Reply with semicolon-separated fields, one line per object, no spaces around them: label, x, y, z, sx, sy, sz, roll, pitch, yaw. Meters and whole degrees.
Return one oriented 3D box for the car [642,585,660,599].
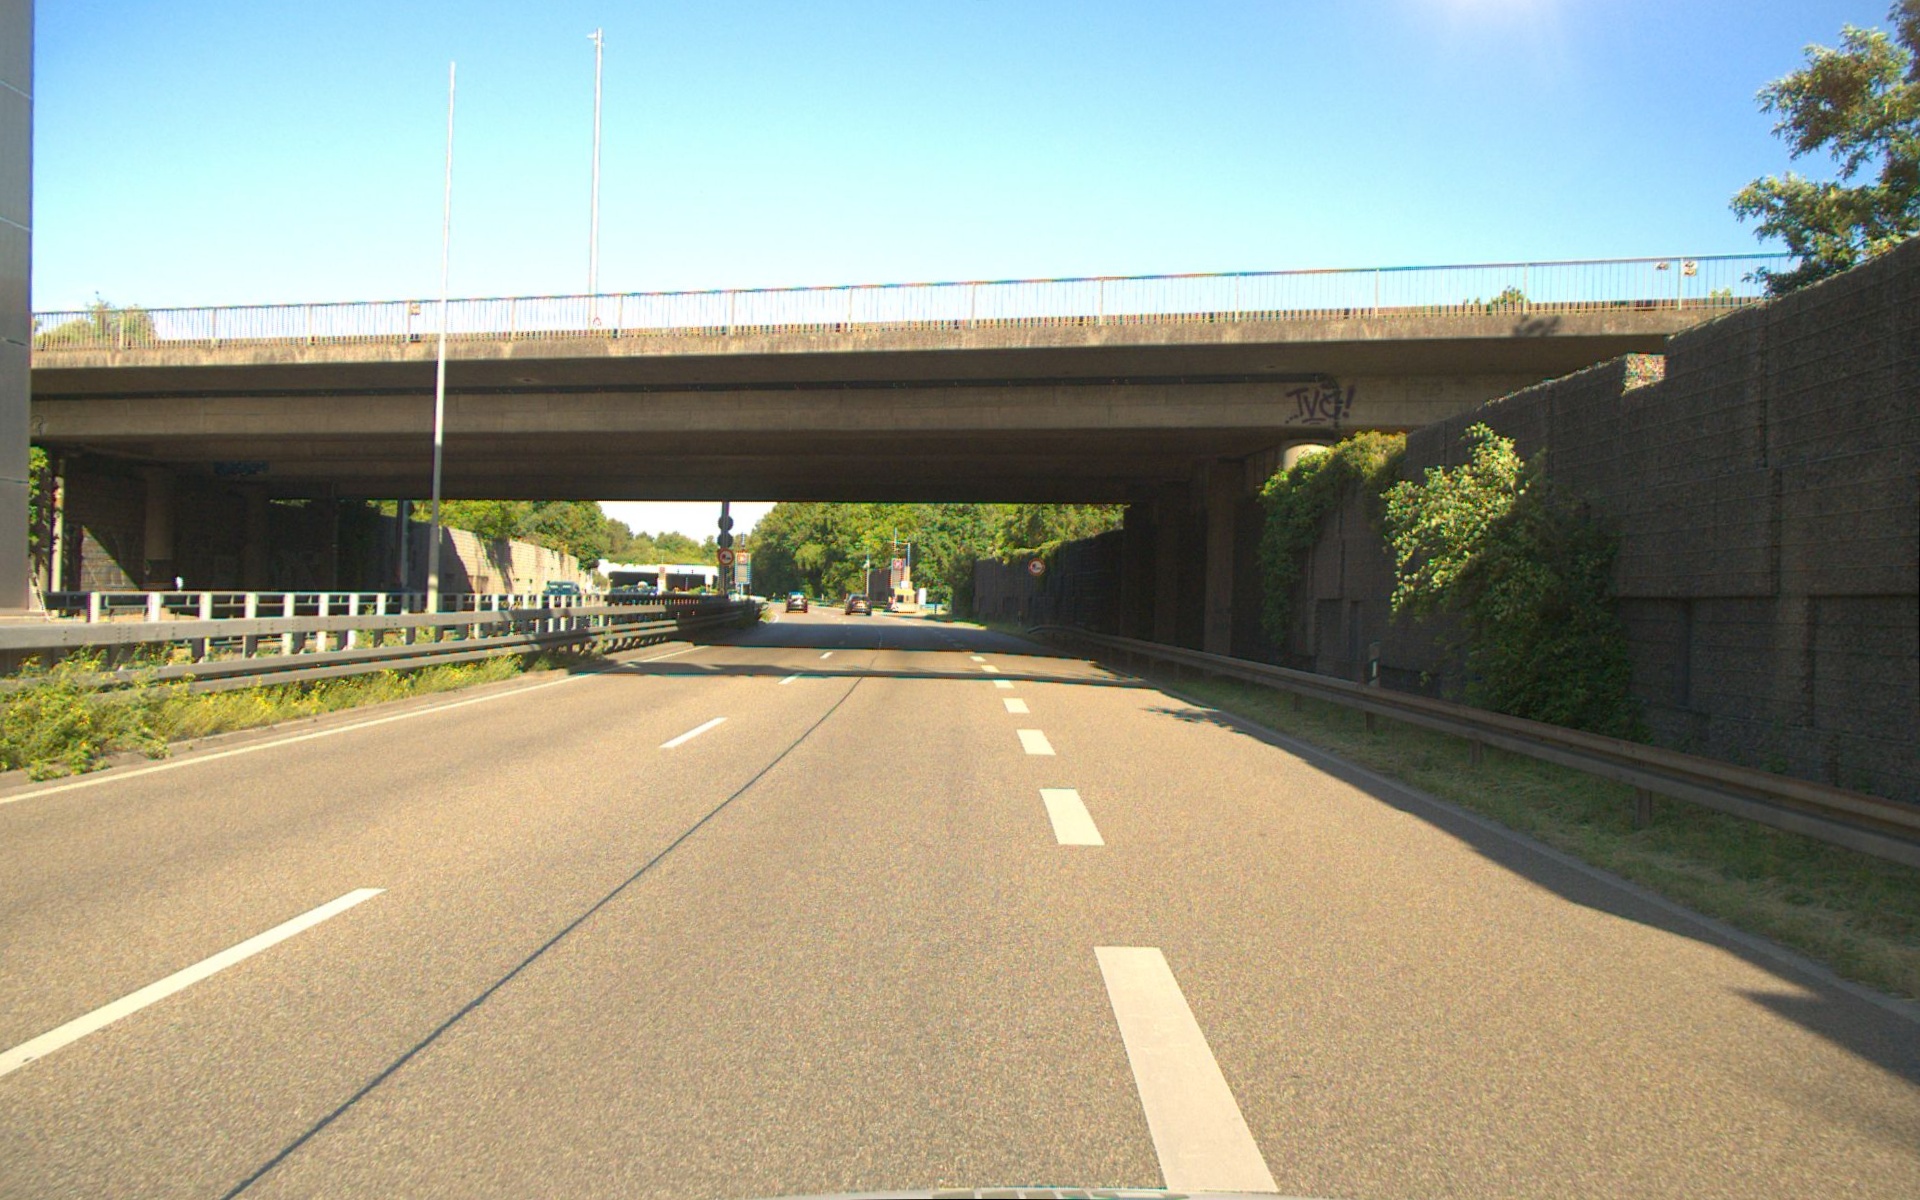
car;-38.888;-0.977;208.358;1.862;1.601;4.801;4;0;-7

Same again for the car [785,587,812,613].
car;-12.832;0.010;131.673;1.954;1.959;3.997;2;0;-3

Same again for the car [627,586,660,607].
car;-25.293;-0.274;132.474;1.954;1.623;4.424;2;0;-3

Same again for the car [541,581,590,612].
car;-23.149;-0.225;97.210;1.954;1.735;4.558;1;0;-3

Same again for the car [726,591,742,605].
car;-35.296;-0.300;258.429;1.960;1.959;3.985;2;0;-14

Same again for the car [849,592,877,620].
car;-7.047;0.422;120.102;1.954;1.959;3.997;2;0;-3
